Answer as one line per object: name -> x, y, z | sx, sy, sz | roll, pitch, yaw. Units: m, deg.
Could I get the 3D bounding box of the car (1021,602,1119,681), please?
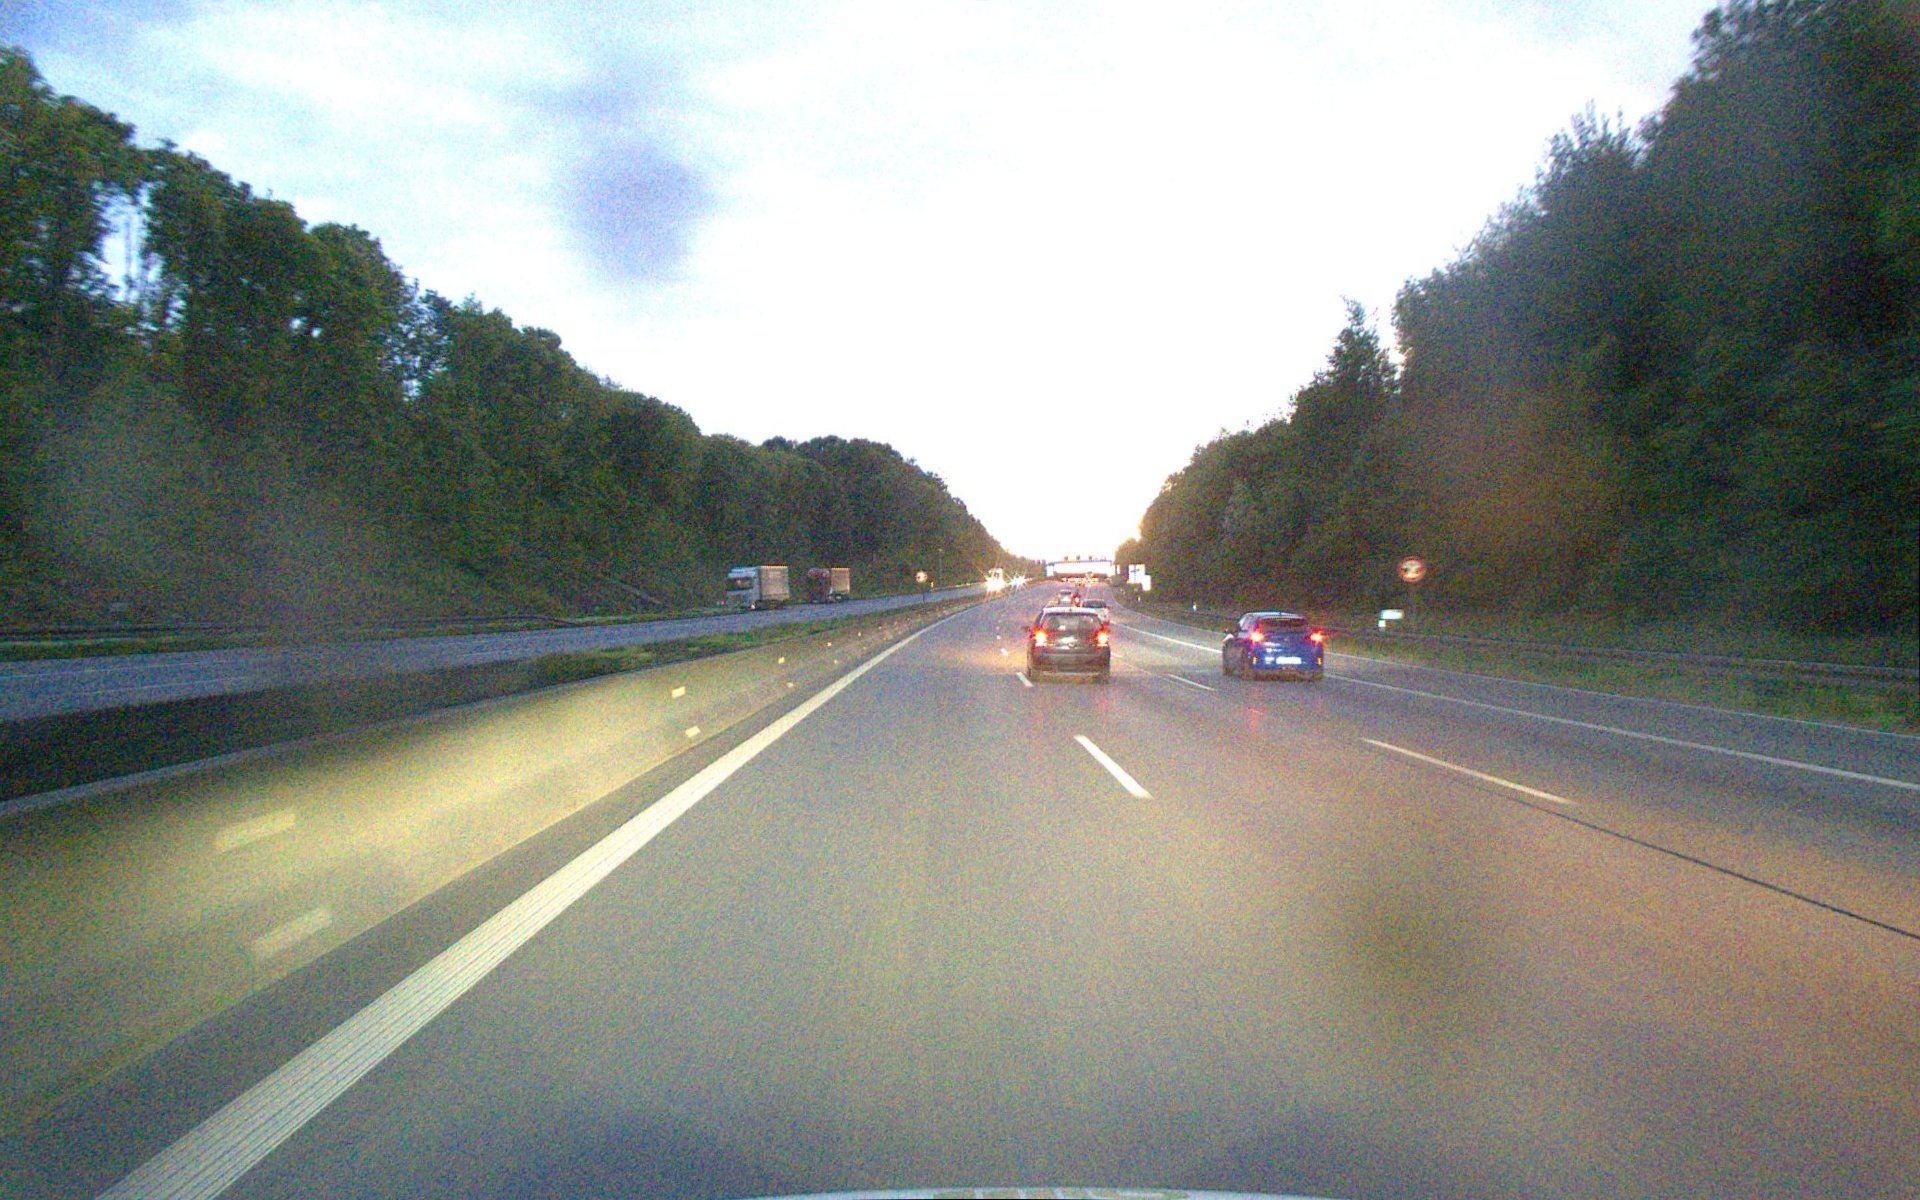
car -> 2.223, 0.820, 34.407 | 1.669, 1.536, 4.231 | 1, 0, -1

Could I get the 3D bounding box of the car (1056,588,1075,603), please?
car -> 11.557, -0.488, 181.287 | 1.827, 1.520, 4.398 | 1, 0, 0

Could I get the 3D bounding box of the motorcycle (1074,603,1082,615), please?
motorcycle -> 11.416, 0.852, 159.914 | 0.812, 1.154, 2.477 | -1, 0, 4

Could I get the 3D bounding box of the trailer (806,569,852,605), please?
trailer -> -15.765, -1.561, 200.341 | 3.123, 4.176, 14.193 | 0, 0, 6

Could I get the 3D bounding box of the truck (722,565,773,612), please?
truck -> -19.715, -1.062, 153.988 | 3.123, 4.176, 7.694 | 0, 0, 6

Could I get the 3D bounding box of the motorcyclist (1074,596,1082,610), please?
motorcyclist -> 11.400, 0.260, 159.848 | 0.812, 1.314, 1.191 | -1, 0, 4

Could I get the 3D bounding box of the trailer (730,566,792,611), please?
trailer -> -19.145, -1.137, 160.325 | 3.123, 4.176, 13.749 | 0, 0, 5

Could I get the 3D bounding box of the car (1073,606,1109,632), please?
car -> 7.729, 1.103, 97.704 | 1.788, 1.501, 4.398 | 1, 0, 0

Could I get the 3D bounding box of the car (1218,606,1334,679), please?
car -> 6.909, 0.887, 36.573 | 1.826, 1.461, 4.585 | 1, 0, 2

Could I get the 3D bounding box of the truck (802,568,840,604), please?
truck -> -16.295, -1.596, 194.760 | 3.123, 4.176, 7.694 | 0, 0, 6
